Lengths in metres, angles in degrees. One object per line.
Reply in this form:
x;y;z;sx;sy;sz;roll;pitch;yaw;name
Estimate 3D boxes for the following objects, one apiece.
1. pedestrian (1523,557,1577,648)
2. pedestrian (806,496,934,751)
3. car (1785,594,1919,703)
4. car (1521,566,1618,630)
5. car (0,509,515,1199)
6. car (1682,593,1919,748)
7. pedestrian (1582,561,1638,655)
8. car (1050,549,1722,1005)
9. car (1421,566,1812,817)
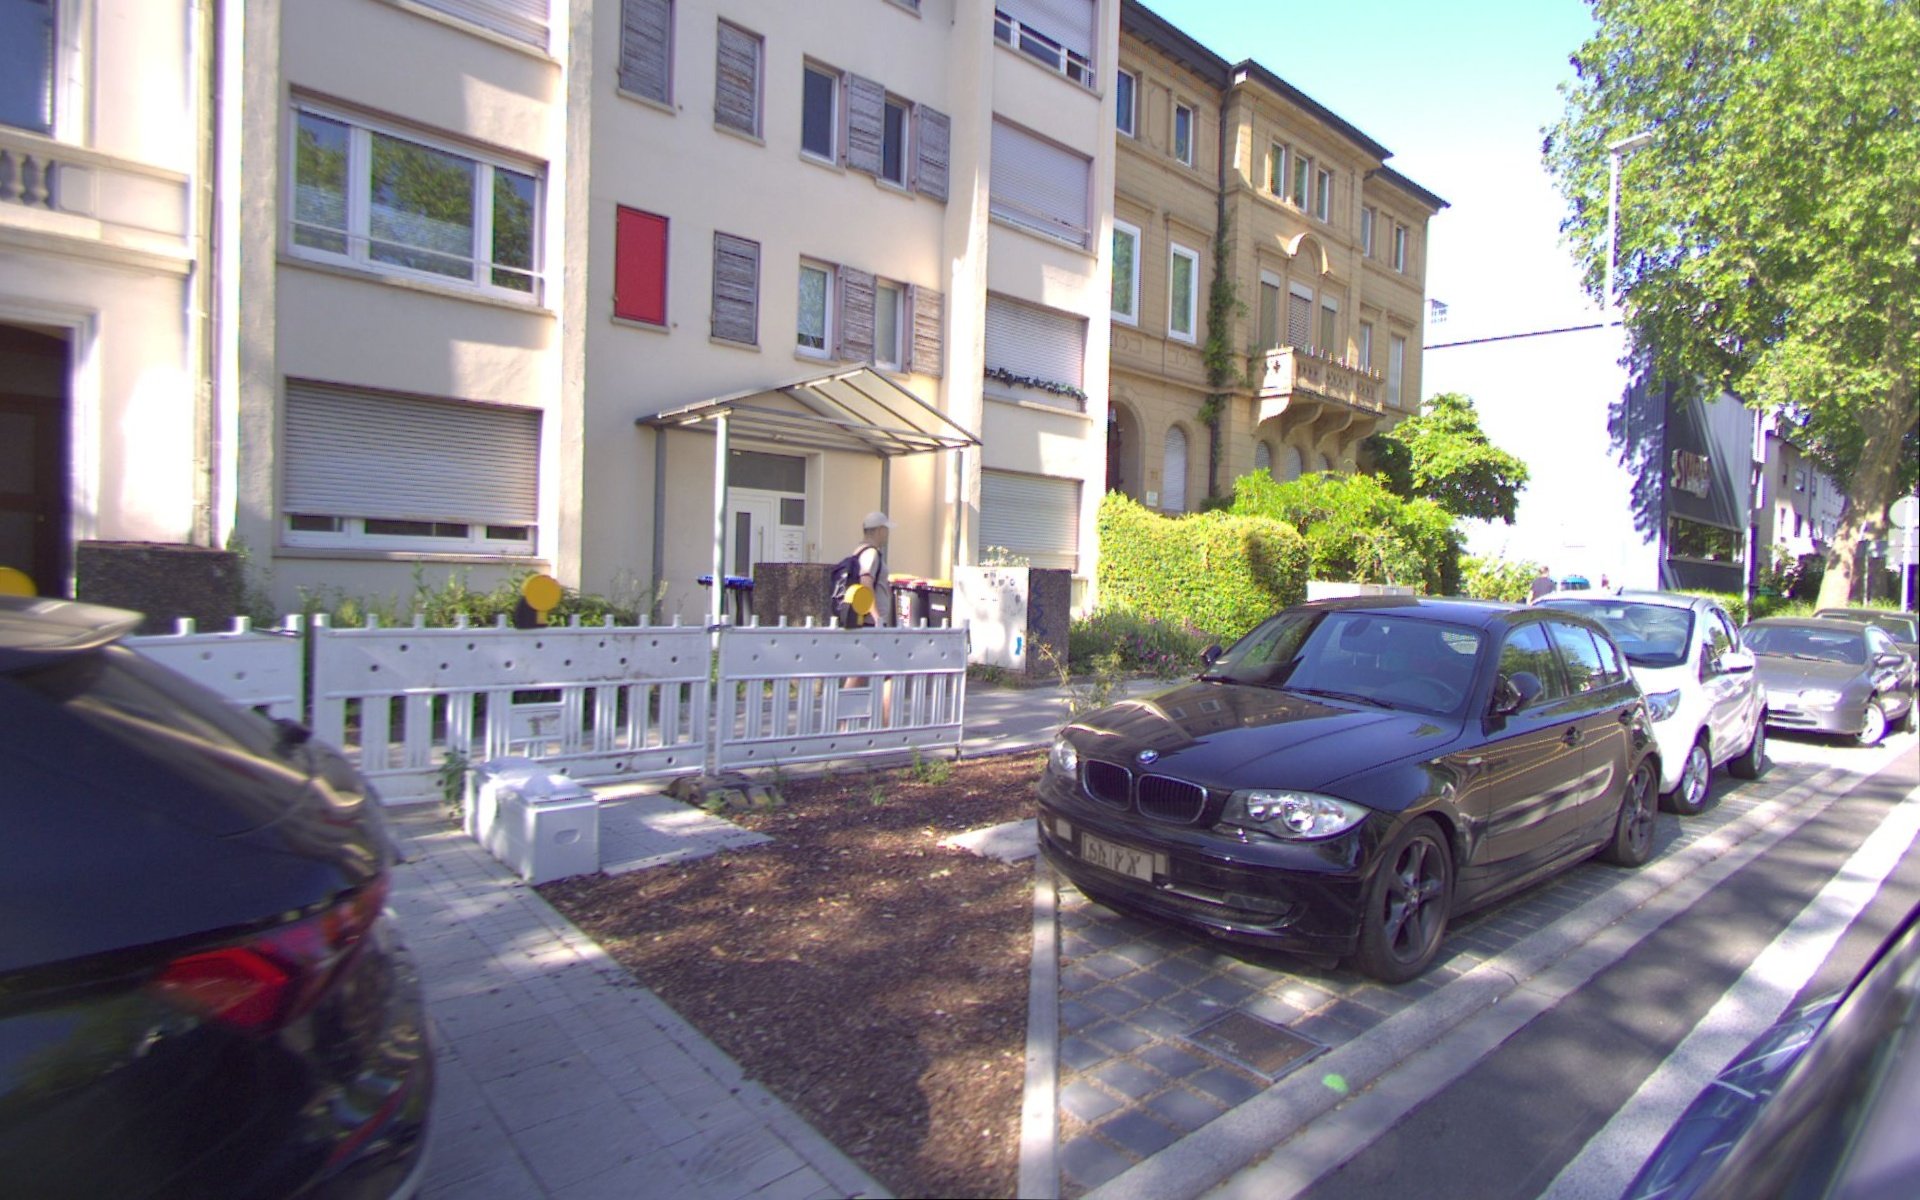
12.260;0.040;21.030;0.788;1.818;0.698;1;2;-41;pedestrian
-0.705;0.158;7.888;0.682;1.872;0.666;1;2;-41;pedestrian
14.977;0.707;16.378;4.398;1.429;1.720;0;5;-41;car
19.257;-0.110;32.145;1.777;1.844;3.975;2;2;19;car
-2.755;0.588;0.879;4.026;1.504;1.623;0;3;-41;car
10.132;0.694;11.908;3.977;1.430;1.720;0;3;-41;car
12.931;0.140;20.134;0.702;1.818;0.698;1;2;-41;pedestrian
2.471;0.576;5.345;3.986;1.504;1.623;0;3;-41;car
5.373;0.556;8.113;3.668;1.504;1.623;0;3;-41;car
